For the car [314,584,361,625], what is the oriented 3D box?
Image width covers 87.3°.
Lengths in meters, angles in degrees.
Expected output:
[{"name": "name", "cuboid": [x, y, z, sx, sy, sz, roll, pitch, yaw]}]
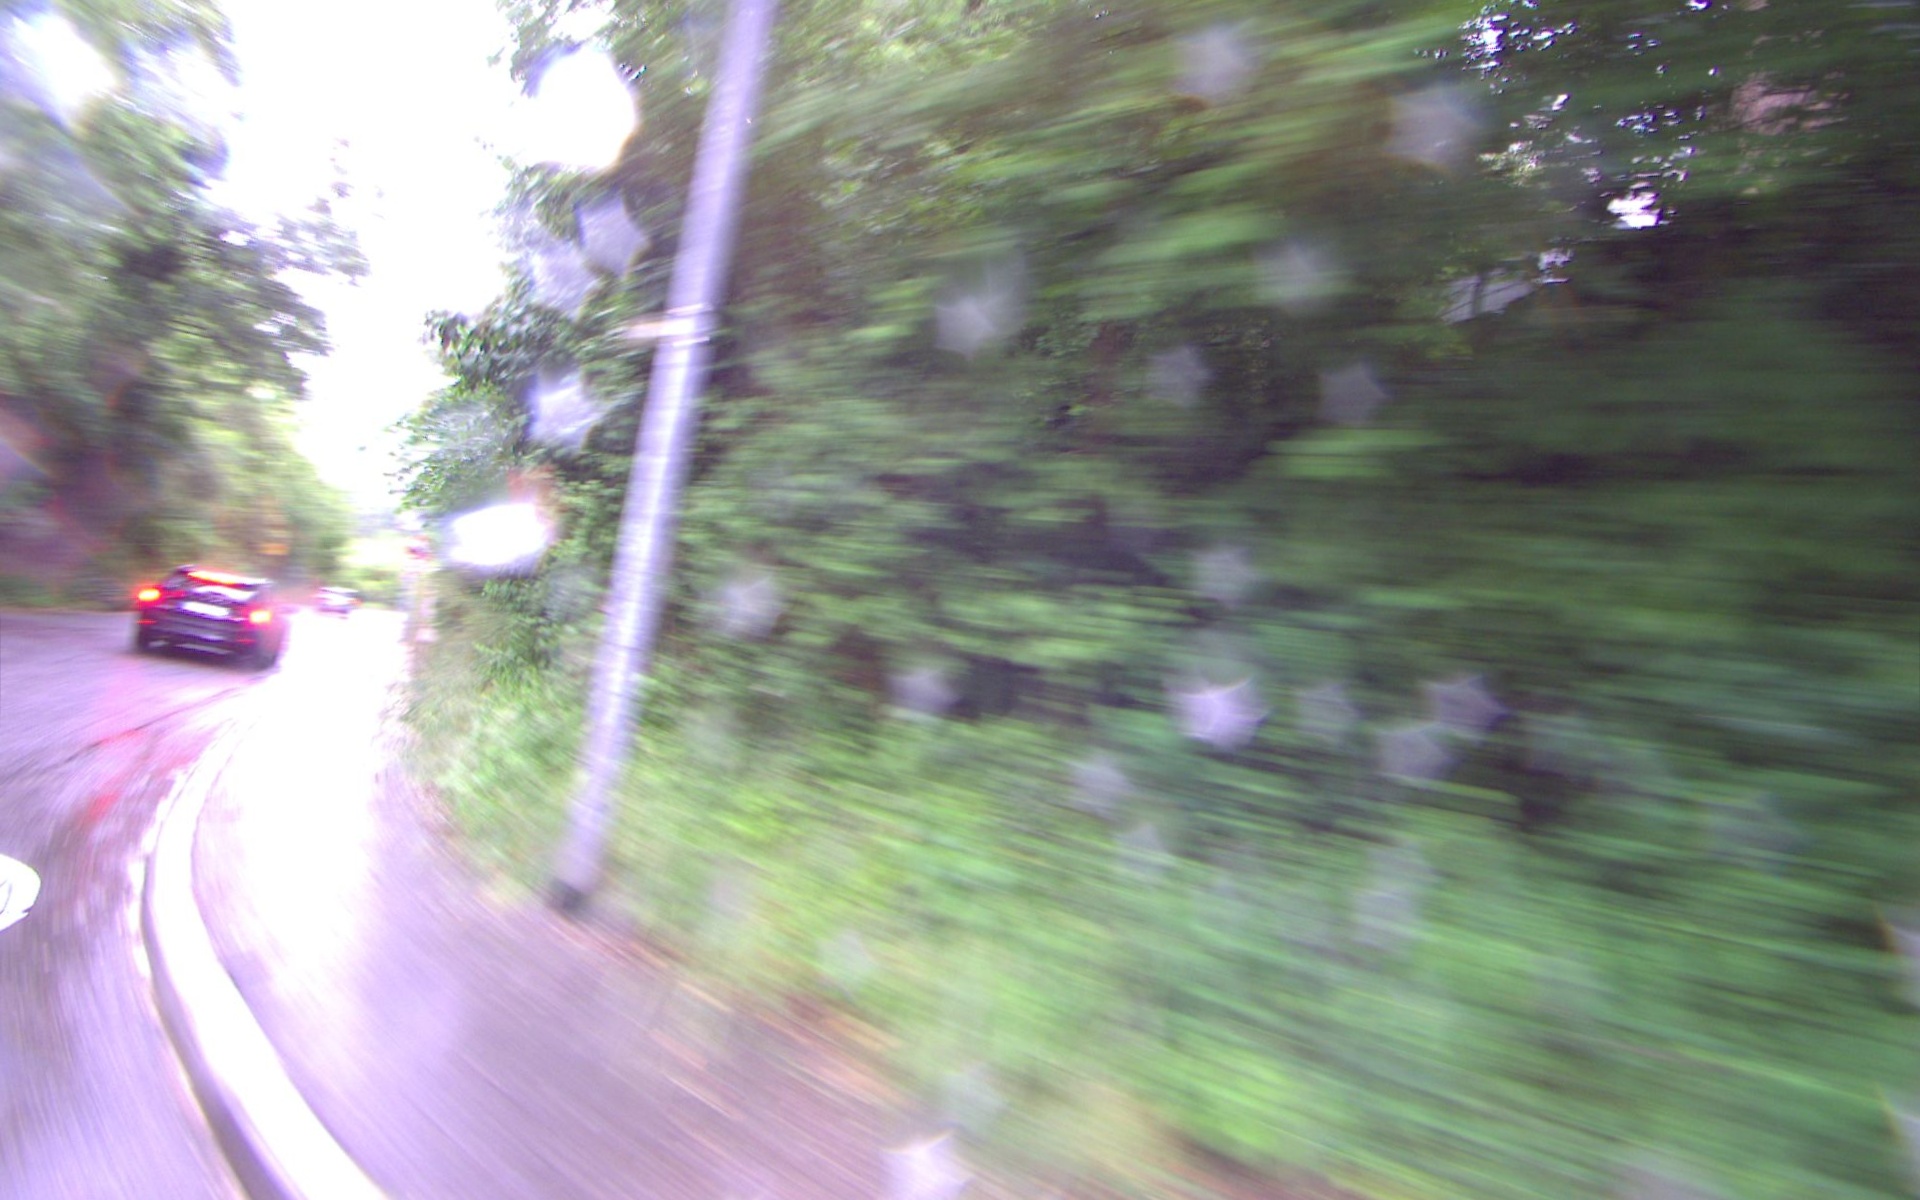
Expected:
[{"name": "car", "cuboid": [-34.405, 0.238, 55.693, 1.855, 1.758, 3.971, 15, -7, -30]}]

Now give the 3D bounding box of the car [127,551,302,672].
[{"name": "car", "cuboid": [-12.477, 0.119, 17.091, 1.690, 1.465, 3.968, 13, -2, -30]}]
